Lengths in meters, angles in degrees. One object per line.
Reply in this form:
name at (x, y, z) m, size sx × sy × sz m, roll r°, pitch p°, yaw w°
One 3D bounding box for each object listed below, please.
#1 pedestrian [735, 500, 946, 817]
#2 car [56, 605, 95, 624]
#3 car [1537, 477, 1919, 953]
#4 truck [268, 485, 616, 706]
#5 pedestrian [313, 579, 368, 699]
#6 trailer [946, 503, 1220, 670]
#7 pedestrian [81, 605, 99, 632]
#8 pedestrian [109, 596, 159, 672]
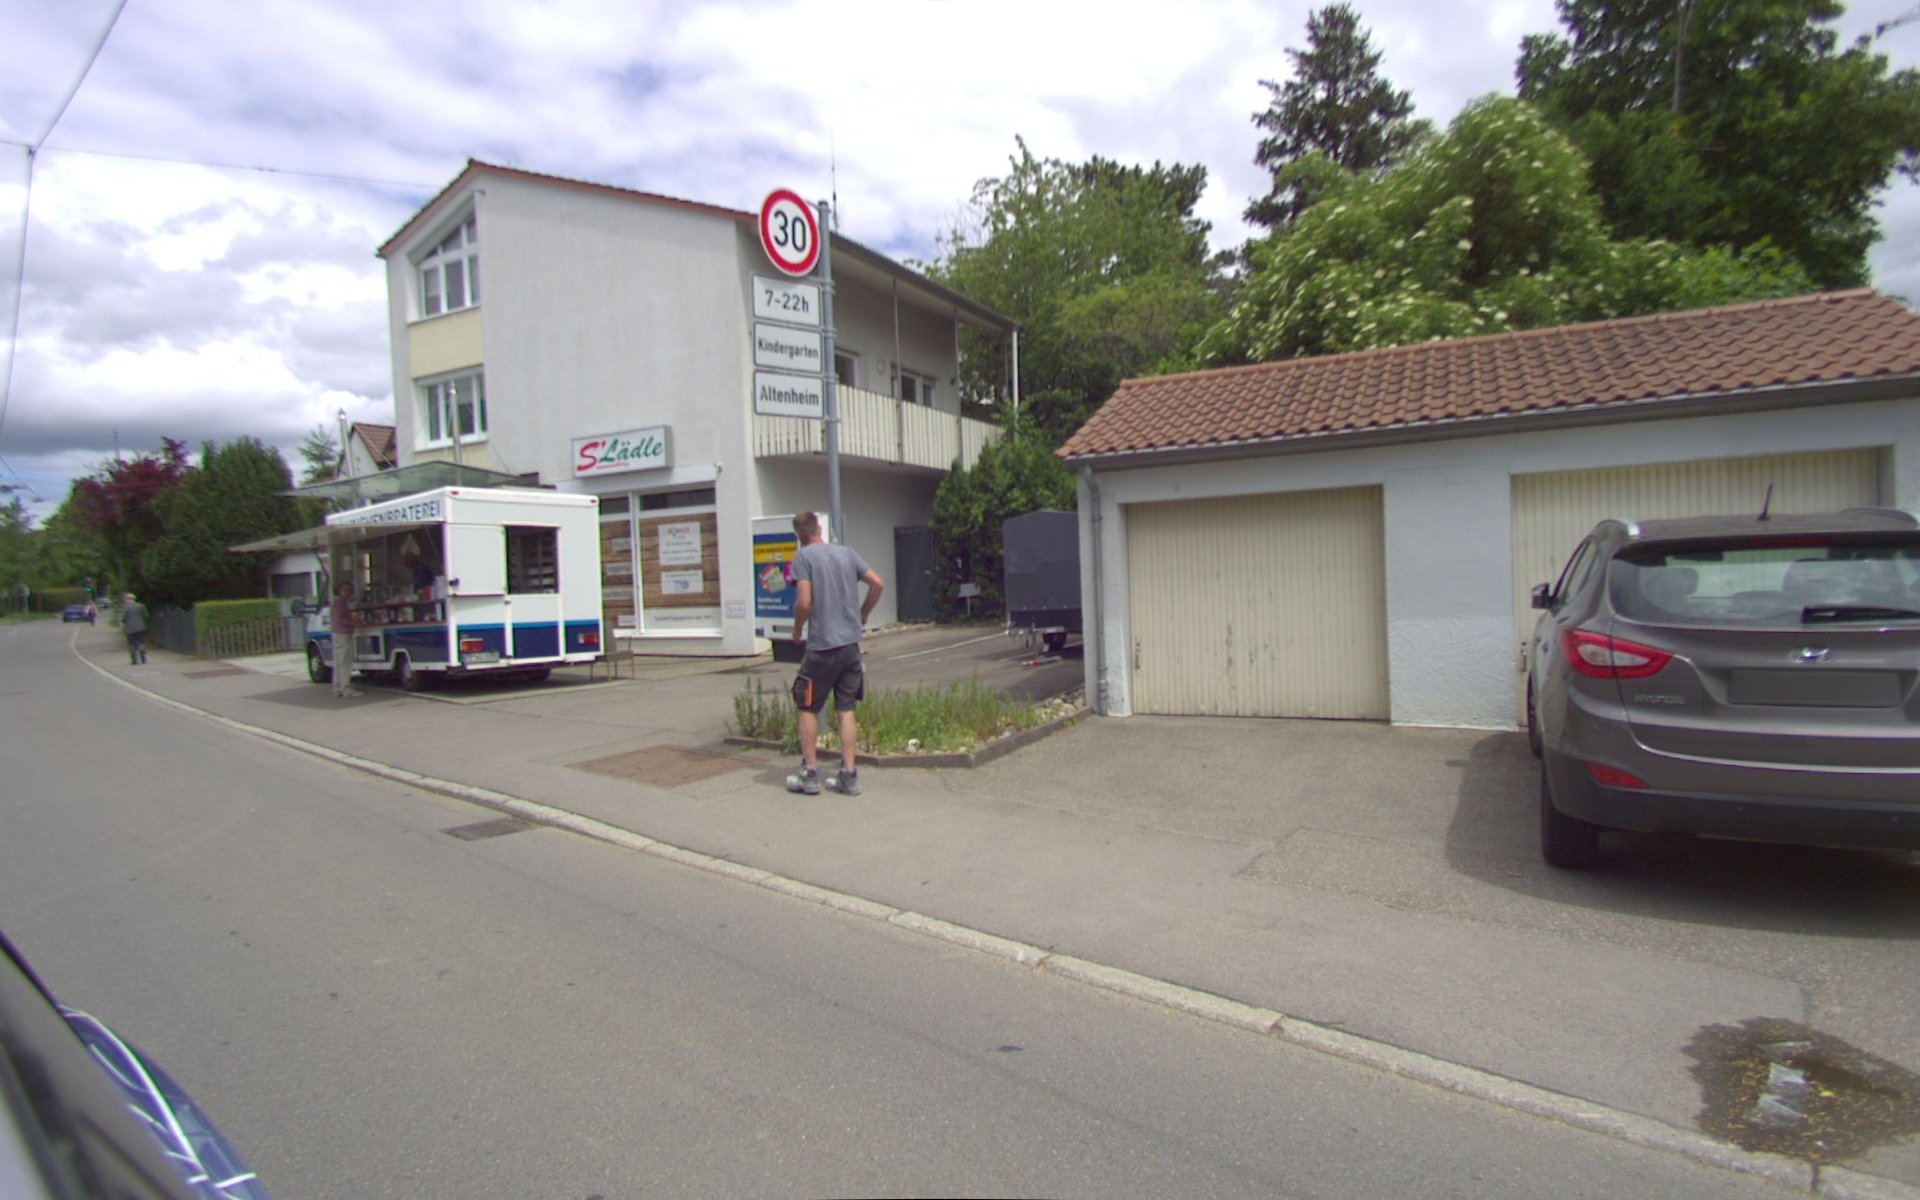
pedestrian at (-0.833, 0.346, 6.940) m, size 1.218 × 1.960 × 0.725 m, roll 0°, pitch 4°, yaw 45°
car at (-78.497, 1.256, 89.861) m, size 1.670 × 1.442 × 3.941 m, roll 0°, pitch 3°, yaw -28°
car at (4.250, 0.266, 5.591) m, size 1.791 × 1.708 × 4.283 m, roll -2°, pitch 3°, yaw 30°
truck at (-8.479, -0.069, 16.172) m, size 6.702 × 2.861 × 2.448 m, roll -1°, pitch 2°, yaw 40°
pedestrian at (-9.102, 0.569, 14.870) m, size 0.597 × 1.707 × 0.397 m, roll -1°, pitch 3°, yaw 40°
trailer at (2.029, -0.318, 15.157) m, size 1.702 × 2.095 × 4.817 m, roll -3°, pitch 2°, yaw 38°
pedestrian at (-59.054, 1.281, 68.701) m, size 0.809 × 1.757 × 0.605 m, roll -5°, pitch 4°, yaw -39°
pedestrian at (-19.985, 0.797, 24.495) m, size 1.110 × 1.699 × 0.715 m, roll 2°, pitch 6°, yaw 45°
